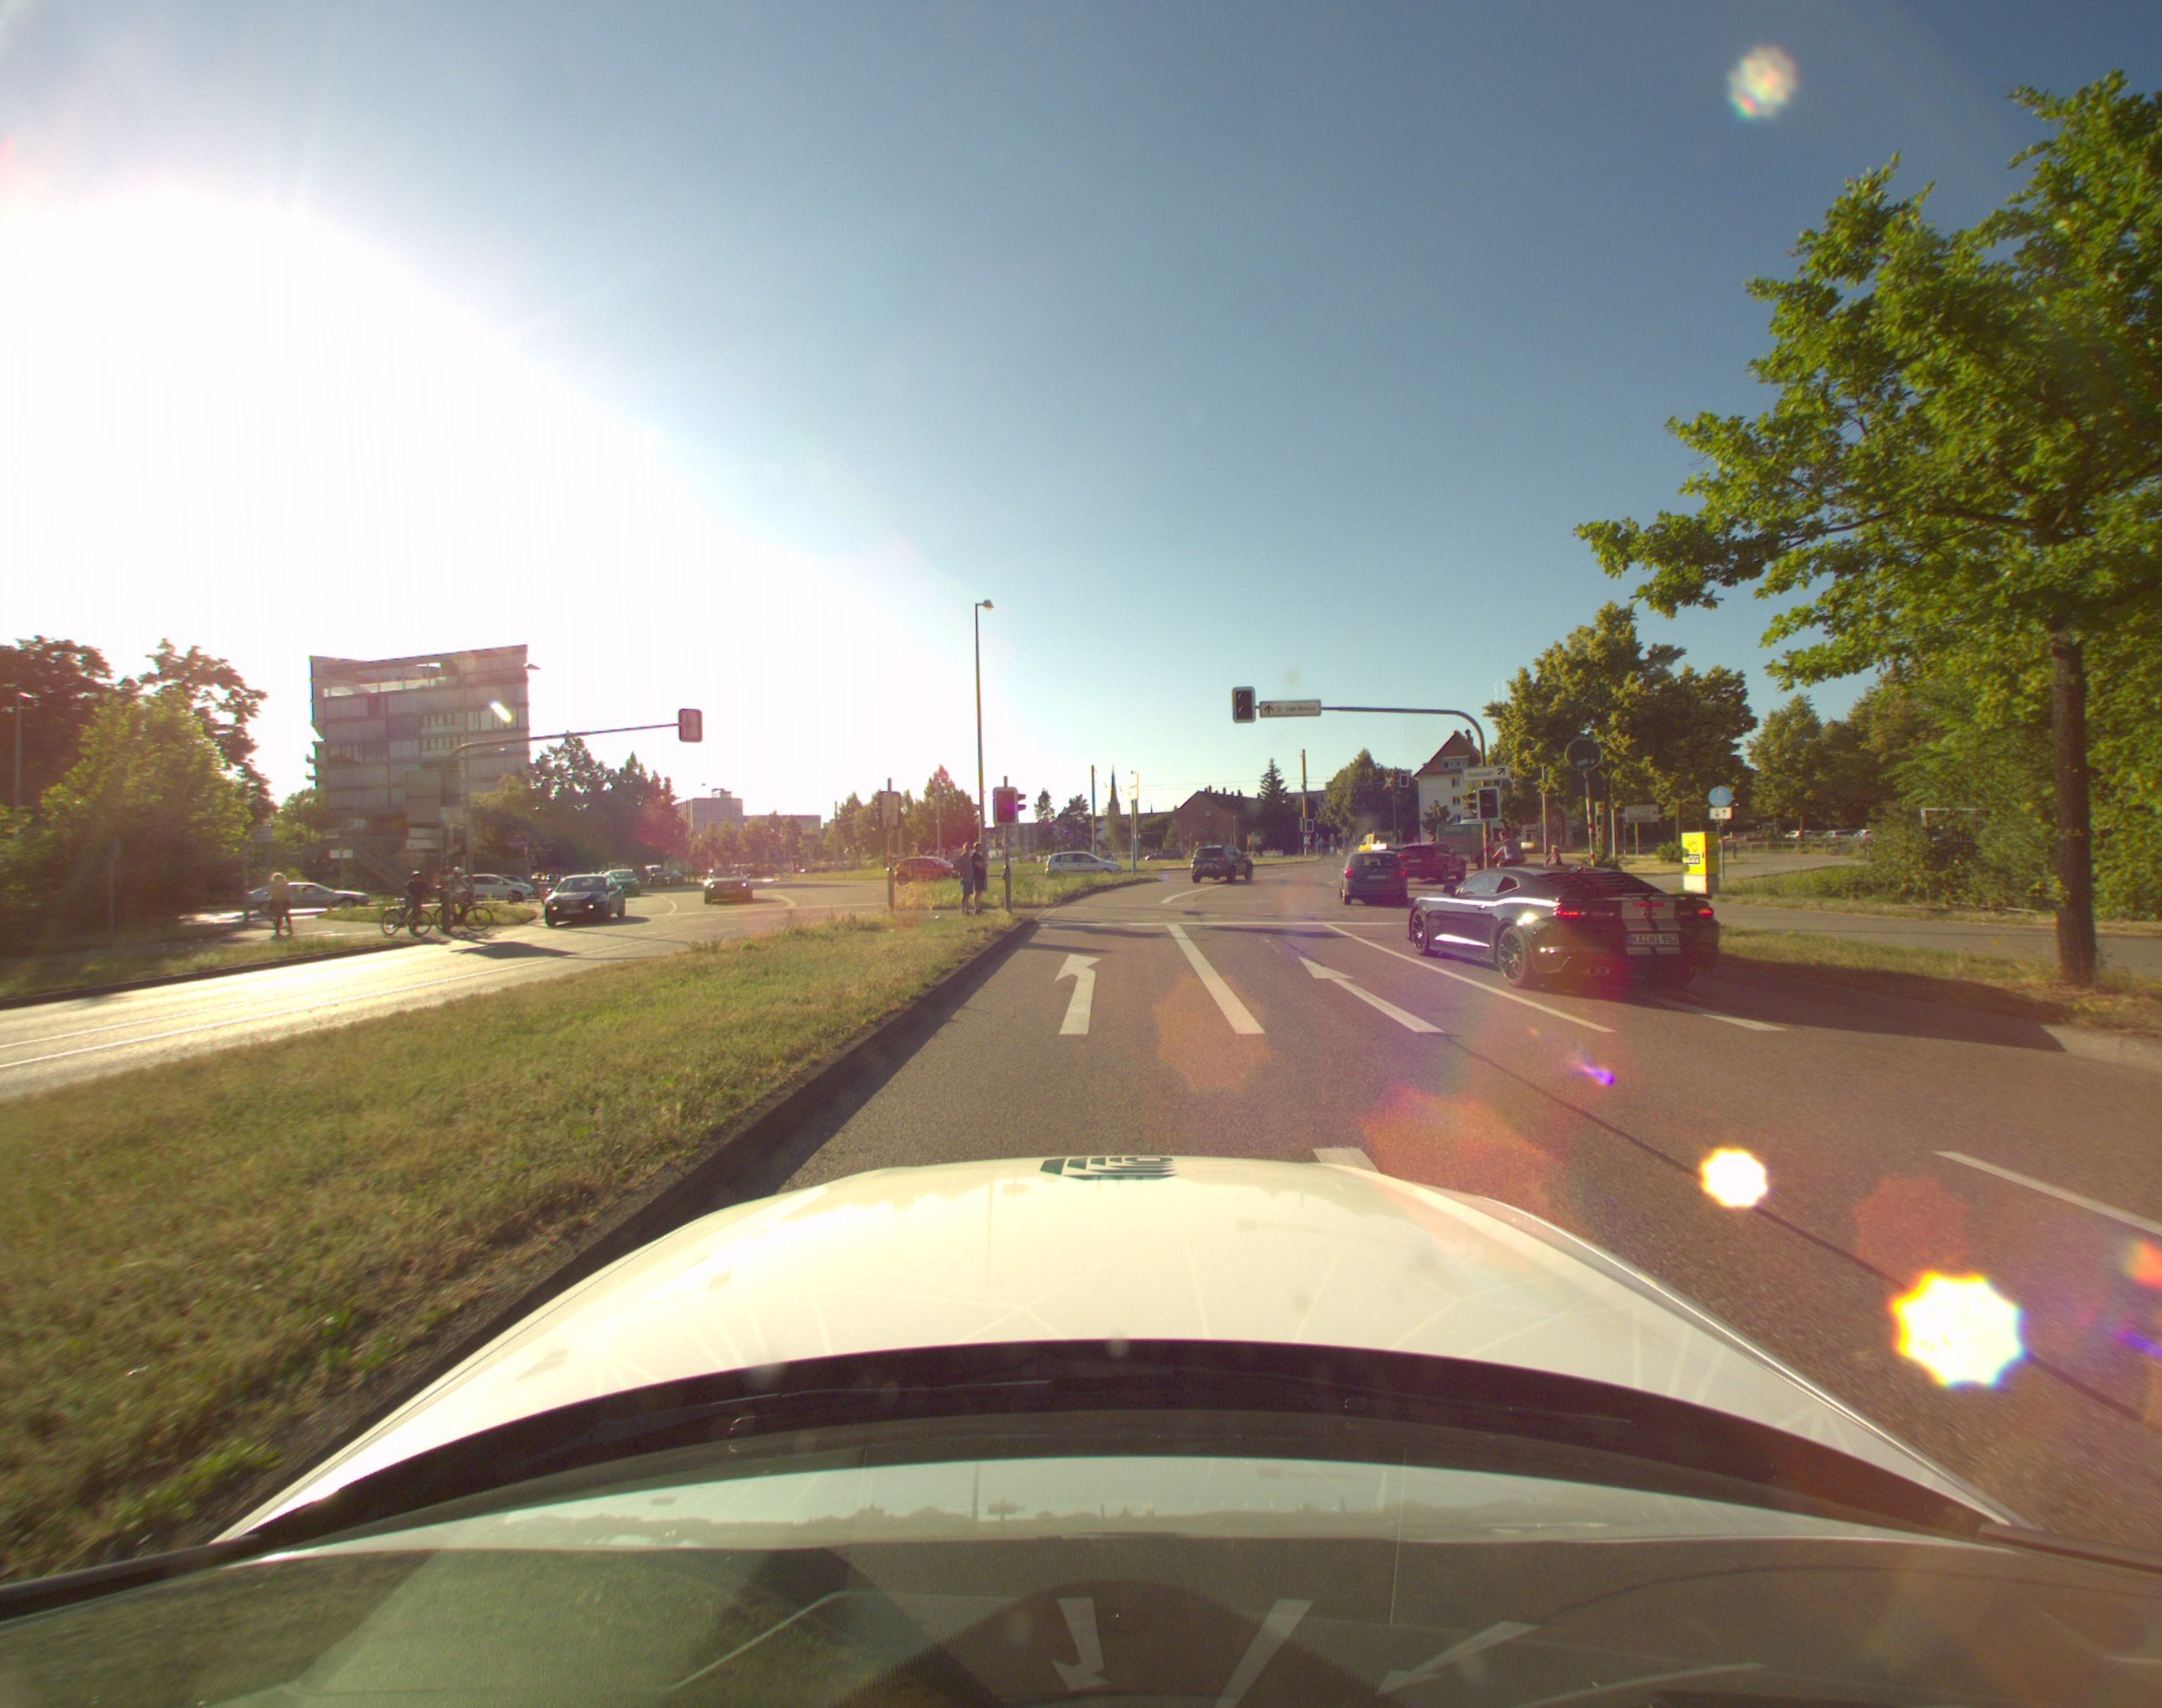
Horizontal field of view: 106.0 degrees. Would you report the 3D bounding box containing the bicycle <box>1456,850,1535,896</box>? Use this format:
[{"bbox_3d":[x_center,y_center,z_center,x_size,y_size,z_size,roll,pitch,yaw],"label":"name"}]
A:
[{"bbox_3d":[11.996,0.556,23.594,1.885,1.244,0.613,-4,-1,39],"label":"bicycle"}]

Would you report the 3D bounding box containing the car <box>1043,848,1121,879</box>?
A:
[{"bbox_3d":[0.101,0.460,41.028,3.728,1.434,1.839,-2,0,5],"label":"car"}]

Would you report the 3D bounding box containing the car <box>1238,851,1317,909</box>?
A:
[{"bbox_3d":[5.920,0.724,24.889,1.595,1.610,4.003,-2,0,3],"label":"car"}]

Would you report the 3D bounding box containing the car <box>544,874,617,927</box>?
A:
[{"bbox_3d":[-15.856,1.408,25.945,1.677,1.441,3.582,-3,0,-28],"label":"car"}]

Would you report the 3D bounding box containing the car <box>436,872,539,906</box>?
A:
[{"bbox_3d":[-30.820,1.793,42.442,3.983,1.508,1.833,-2,0,-26],"label":"car"}]

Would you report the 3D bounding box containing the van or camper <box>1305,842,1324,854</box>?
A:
[{"bbox_3d":[43.065,-1.095,150.092,2.073,2.154,4.452,-2,0,34],"label":"van or camper"}]

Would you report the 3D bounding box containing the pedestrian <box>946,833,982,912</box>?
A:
[{"bbox_3d":[-2.830,0.444,19.667,0.481,1.844,0.723,-3,-2,23],"label":"pedestrian"}]

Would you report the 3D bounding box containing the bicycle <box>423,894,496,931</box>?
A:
[{"bbox_3d":[-18.186,1.708,23.839,1.897,1.019,0.506,-1,0,9],"label":"bicycle"}]

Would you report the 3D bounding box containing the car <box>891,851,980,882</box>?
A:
[{"bbox_3d":[-7.587,0.668,42.603,4.093,1.444,1.918,-2,0,17],"label":"car"}]

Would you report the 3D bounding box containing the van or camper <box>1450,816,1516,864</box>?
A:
[{"bbox_3d":[23.640,-0.809,47.739,2.262,2.629,6.625,-1,0,37],"label":"van or camper"}]

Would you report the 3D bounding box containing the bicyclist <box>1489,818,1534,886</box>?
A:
[{"bbox_3d":[12.327,-0.048,23.313,0.927,1.899,0.605,-4,-1,39],"label":"bicyclist"}]

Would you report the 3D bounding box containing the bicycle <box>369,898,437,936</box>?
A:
[{"bbox_3d":[-18.808,1.734,22.582,1.893,1.019,0.507,-1,0,17],"label":"bicycle"}]

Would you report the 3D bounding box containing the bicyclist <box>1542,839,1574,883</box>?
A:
[{"bbox_3d":[14.360,0.204,24.521,0.650,1.294,0.464,-3,1,-15],"label":"bicyclist"}]

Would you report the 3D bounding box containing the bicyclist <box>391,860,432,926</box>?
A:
[{"bbox_3d":[-18.495,1.066,22.492,0.806,1.770,0.498,-1,0,17],"label":"bicyclist"}]

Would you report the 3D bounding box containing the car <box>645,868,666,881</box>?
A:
[{"bbox_3d":[-69.594,3.316,133.209,2.011,2.013,3.952,-2,0,-42],"label":"car"}]

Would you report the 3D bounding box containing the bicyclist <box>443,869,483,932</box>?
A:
[{"bbox_3d":[-18.089,1.351,23.829,0.808,1.789,0.498,0,0,10],"label":"bicyclist"}]

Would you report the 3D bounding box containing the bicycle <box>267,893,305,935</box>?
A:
[{"bbox_3d":[-23.180,1.734,23.736,1.800,1.118,0.730,-2,-1,45],"label":"bicycle"}]

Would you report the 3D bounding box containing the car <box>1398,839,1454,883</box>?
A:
[{"bbox_3d":[13.856,0.219,32.626,1.731,1.620,3.843,0,2,28],"label":"car"}]

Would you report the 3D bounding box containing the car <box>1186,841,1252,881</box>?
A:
[{"bbox_3d":[6.204,0.283,36.327,1.888,1.660,4.023,-2,0,24],"label":"car"}]

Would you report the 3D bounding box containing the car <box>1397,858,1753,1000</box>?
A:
[{"bbox_3d":[5.742,0.750,10.306,1.847,1.338,4.627,0,0,2],"label":"car"}]

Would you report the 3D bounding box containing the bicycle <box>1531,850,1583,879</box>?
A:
[{"bbox_3d":[14.326,0.316,24.519,1.462,0.786,0.437,-3,0,-16],"label":"bicycle"}]

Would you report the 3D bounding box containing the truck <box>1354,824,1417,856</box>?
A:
[{"bbox_3d":[26.495,-1.166,71.213,2.577,2.558,6.238,-2,0,-6],"label":"truck"}]

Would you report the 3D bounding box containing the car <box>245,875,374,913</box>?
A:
[{"bbox_3d":[-36.697,1.854,38.902,4.331,1.508,1.853,-2,0,-40],"label":"car"}]

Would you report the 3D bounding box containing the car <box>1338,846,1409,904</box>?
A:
[{"bbox_3d":[8.283,0.547,23.296,1.733,1.473,3.837,-2,0,18],"label":"car"}]

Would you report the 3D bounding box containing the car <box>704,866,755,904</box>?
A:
[{"bbox_3d":[-14.661,1.242,34.128,1.673,1.376,4.120,-3,0,-21],"label":"car"}]

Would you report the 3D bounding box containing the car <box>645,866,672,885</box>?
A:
[{"bbox_3d":[-34.737,1.767,66.962,1.515,1.453,3.425,-2,0,-35],"label":"car"}]

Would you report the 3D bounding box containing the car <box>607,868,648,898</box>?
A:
[{"bbox_3d":[-23.427,1.458,42.151,1.676,1.376,3.745,-3,0,-27],"label":"car"}]

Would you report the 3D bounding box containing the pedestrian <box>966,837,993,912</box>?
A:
[{"bbox_3d":[-2.568,0.512,20.644,0.483,1.844,0.673,-2,0,5],"label":"pedestrian"}]

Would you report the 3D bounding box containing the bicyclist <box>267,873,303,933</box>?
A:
[{"bbox_3d":[-23.156,1.413,23.683,0.821,1.666,0.714,-2,0,45],"label":"bicyclist"}]

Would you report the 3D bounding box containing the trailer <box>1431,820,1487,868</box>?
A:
[{"bbox_3d":[19.935,-0.496,42.889,2.070,2.400,3.523,0,0,35],"label":"trailer"}]
